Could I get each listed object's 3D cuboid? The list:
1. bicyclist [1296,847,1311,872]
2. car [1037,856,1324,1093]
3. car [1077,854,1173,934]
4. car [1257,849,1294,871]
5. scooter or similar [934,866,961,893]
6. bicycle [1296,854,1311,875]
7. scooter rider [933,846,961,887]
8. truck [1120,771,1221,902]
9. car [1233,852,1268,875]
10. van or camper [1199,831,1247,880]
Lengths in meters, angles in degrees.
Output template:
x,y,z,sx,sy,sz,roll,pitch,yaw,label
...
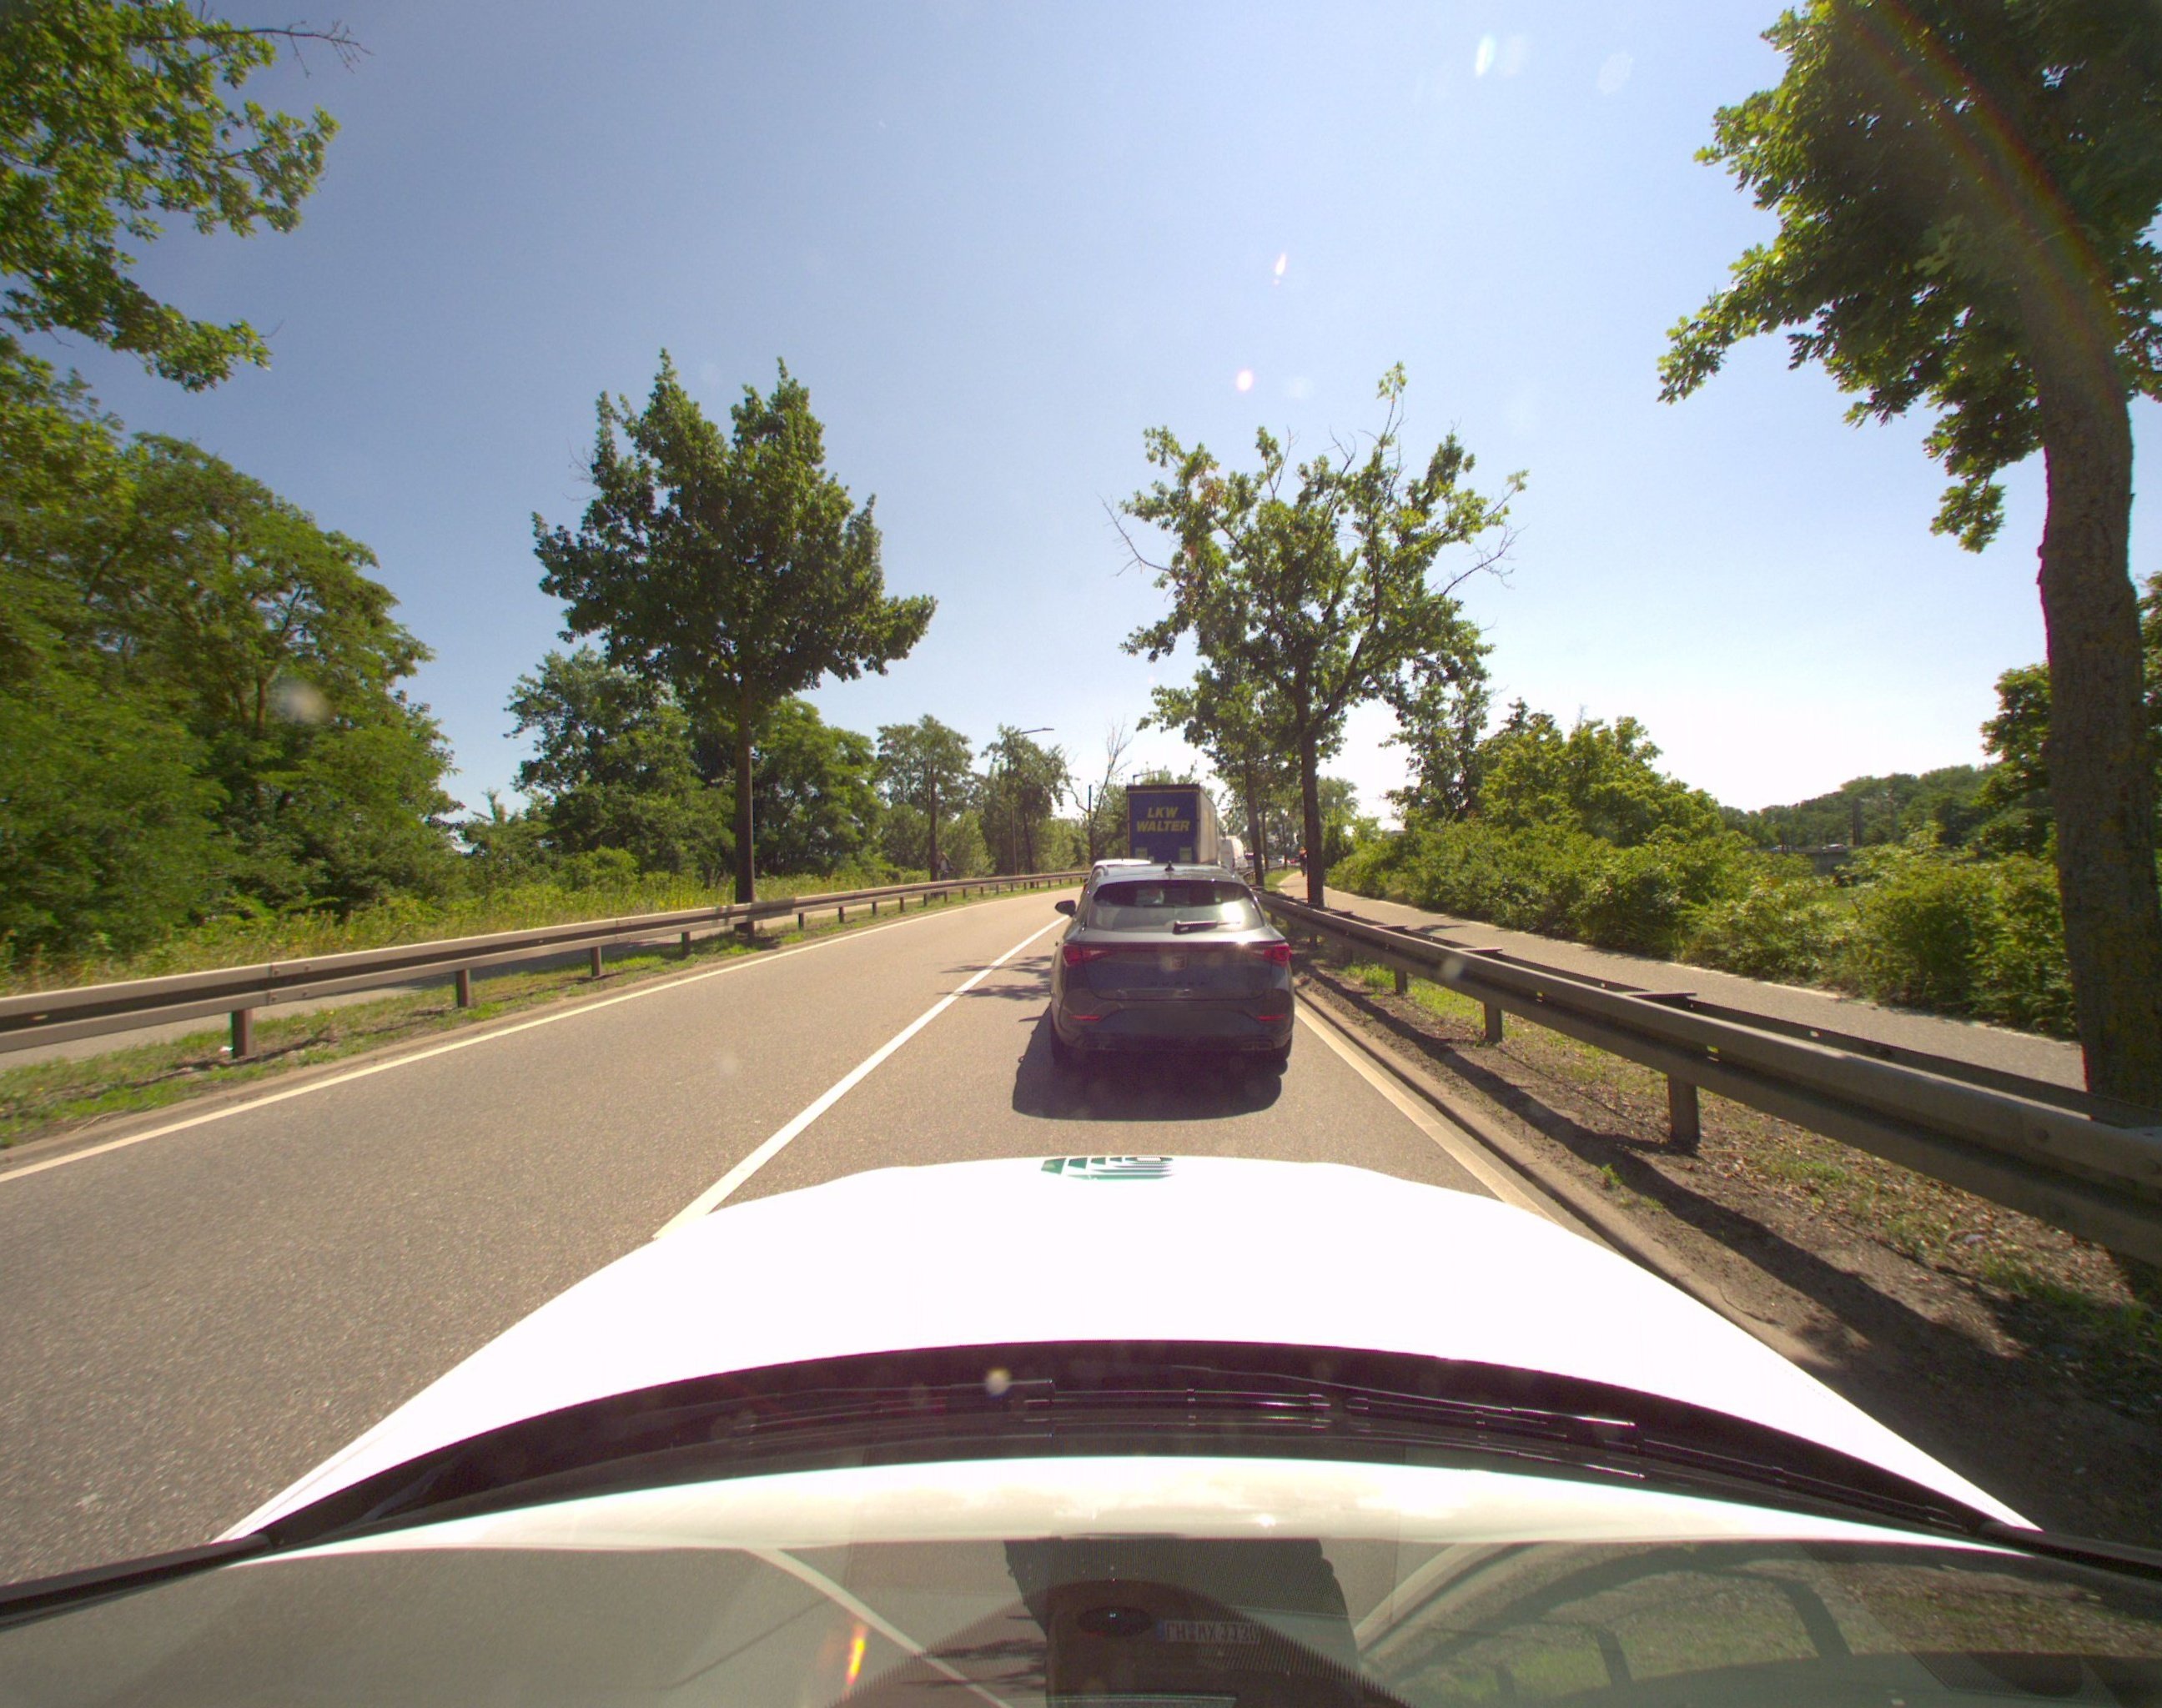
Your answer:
x,y,z,sx,sy,sz,roll,pitch,yaw,label
13.278,0.329,48.610,0.854,1.523,0.984,-1,-1,15,bicyclist
0.666,0.753,6.904,1.738,1.432,3.881,0,-1,2,car
1.014,0.773,17.389,1.801,1.508,4.006,0,-1,5,car
16.775,0.494,70.082,1.975,1.808,4.874,-1,-1,27,car
-5.522,1.061,33.651,0.772,1.091,1.098,-1,-1,10,scooter or similar
13.307,0.624,48.656,0.854,1.237,2.319,-1,-1,15,bicycle
-5.533,0.497,33.663,0.772,1.657,1.124,-1,-1,11,scooter rider
4.485,-0.536,36.254,2.930,4.449,16.850,-1,-1,12,truck
12.963,0.708,62.218,1.977,1.712,4.643,-1,-1,20,car
9.283,0.118,52.876,2.448,2.998,6.111,-1,-1,16,van or camper
